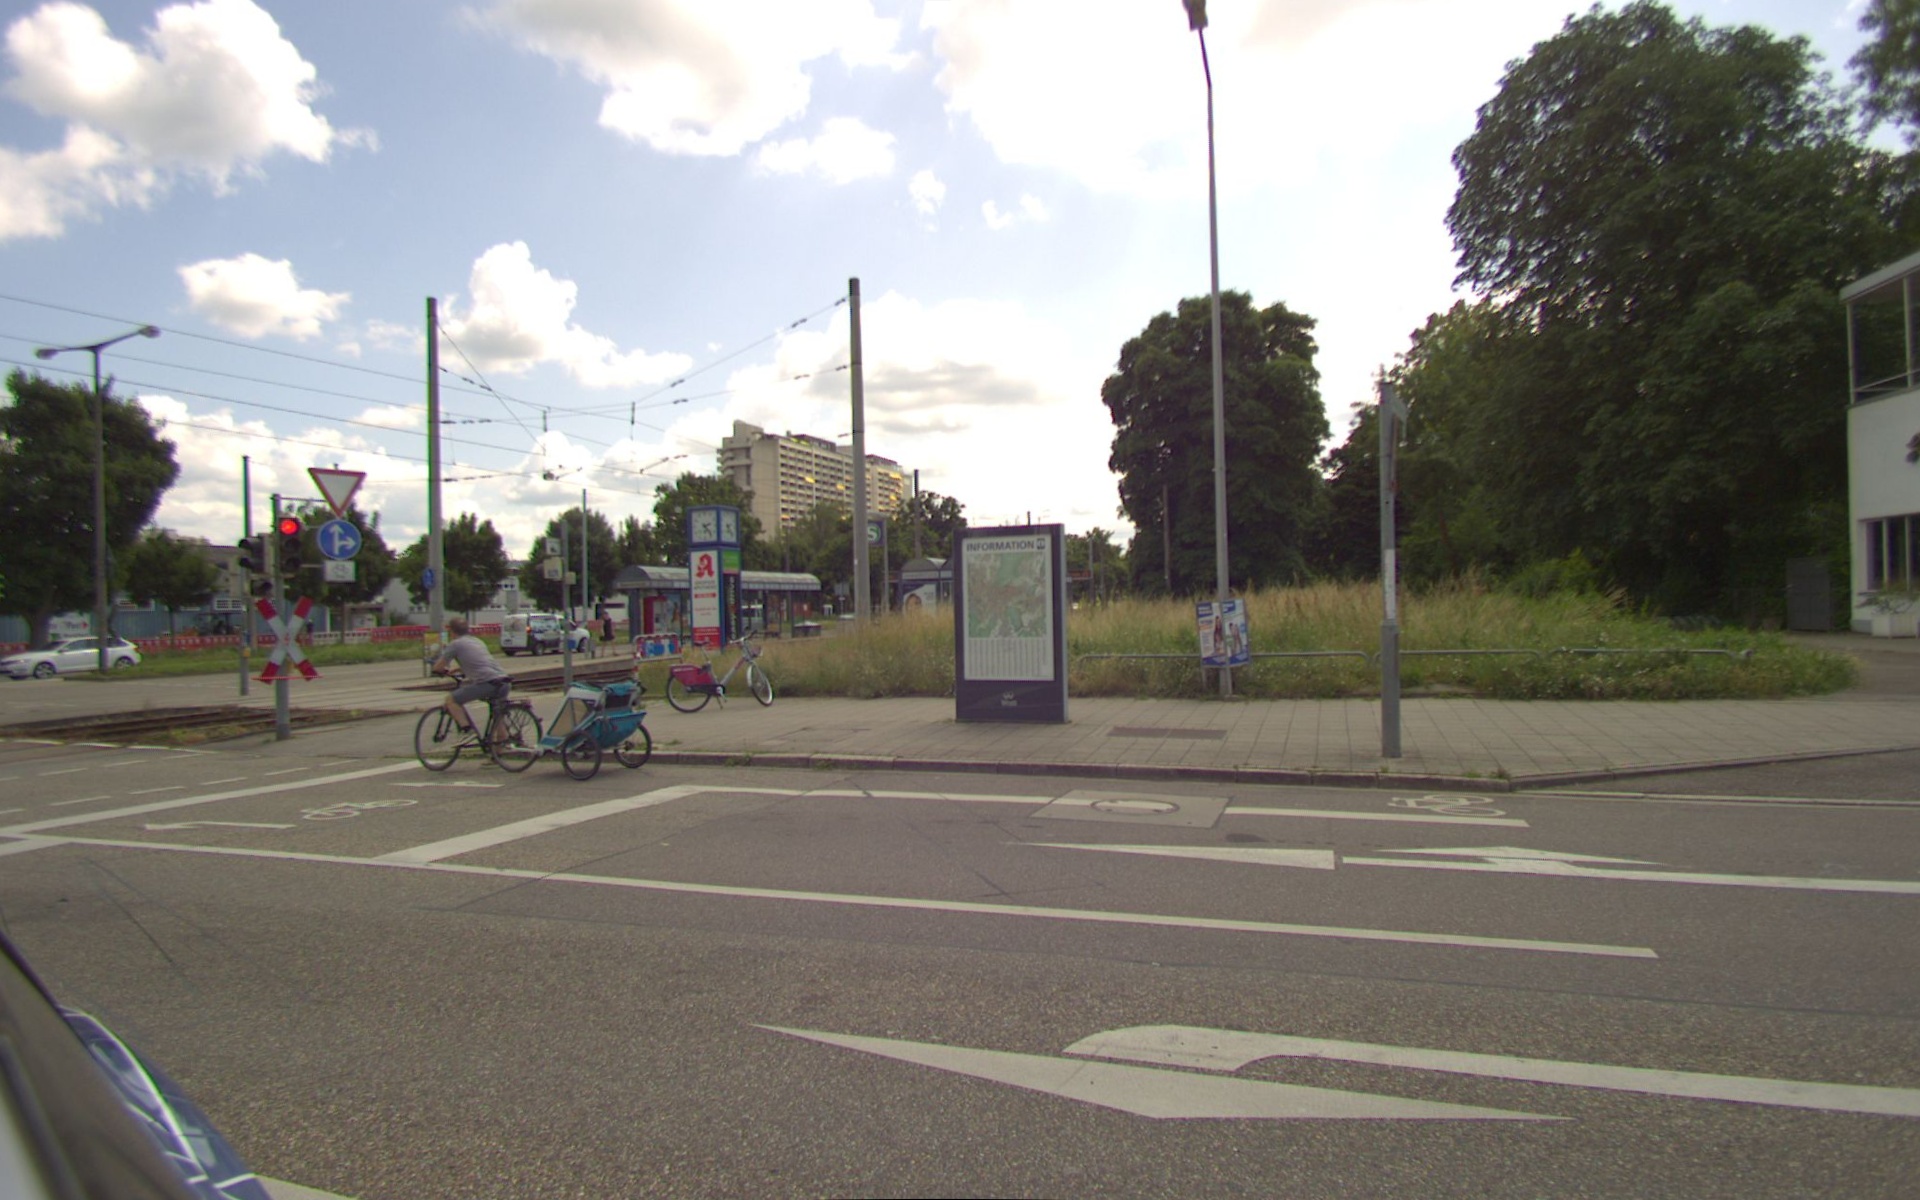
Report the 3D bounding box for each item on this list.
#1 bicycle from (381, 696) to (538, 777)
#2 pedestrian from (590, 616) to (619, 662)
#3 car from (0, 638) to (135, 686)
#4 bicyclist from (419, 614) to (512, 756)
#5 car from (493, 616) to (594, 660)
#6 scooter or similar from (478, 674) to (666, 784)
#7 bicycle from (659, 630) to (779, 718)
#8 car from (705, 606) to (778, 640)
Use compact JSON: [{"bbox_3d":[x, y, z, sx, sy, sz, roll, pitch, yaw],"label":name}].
[{"bbox_3d":[-5.464,1.460,11.032,1.716,0.771,0.551,-2,-1,23],"label":"bicycle"},{"bbox_3d":[-12.300,1.345,35.002,0.649,1.525,0.715,-2,-1,11],"label":"pedestrian"},{"bbox_3d":[-33.431,2.250,37.421,1.985,1.515,4.145,-1,0,20],"label":"car"},{"bbox_3d":[-5.385,0.907,11.022,0.836,1.486,0.452,-2,-1,23],"label":"bicyclist"},{"bbox_3d":[-18.114,1.611,44.219,1.736,1.799,4.126,-1,0,21],"label":"car"},{"bbox_3d":[-3.978,1.294,10.404,1.569,0.987,0.955,-2,-1,23],"label":"scooter or similar"},{"bbox_3d":[-3.557,1.068,14.970,1.633,1.141,0.703,-3,0,-14],"label":"bicycle"},{"bbox_3d":[-13.265,1.386,61.779,1.806,1.933,5.196,-2,-1,21],"label":"car"}]
